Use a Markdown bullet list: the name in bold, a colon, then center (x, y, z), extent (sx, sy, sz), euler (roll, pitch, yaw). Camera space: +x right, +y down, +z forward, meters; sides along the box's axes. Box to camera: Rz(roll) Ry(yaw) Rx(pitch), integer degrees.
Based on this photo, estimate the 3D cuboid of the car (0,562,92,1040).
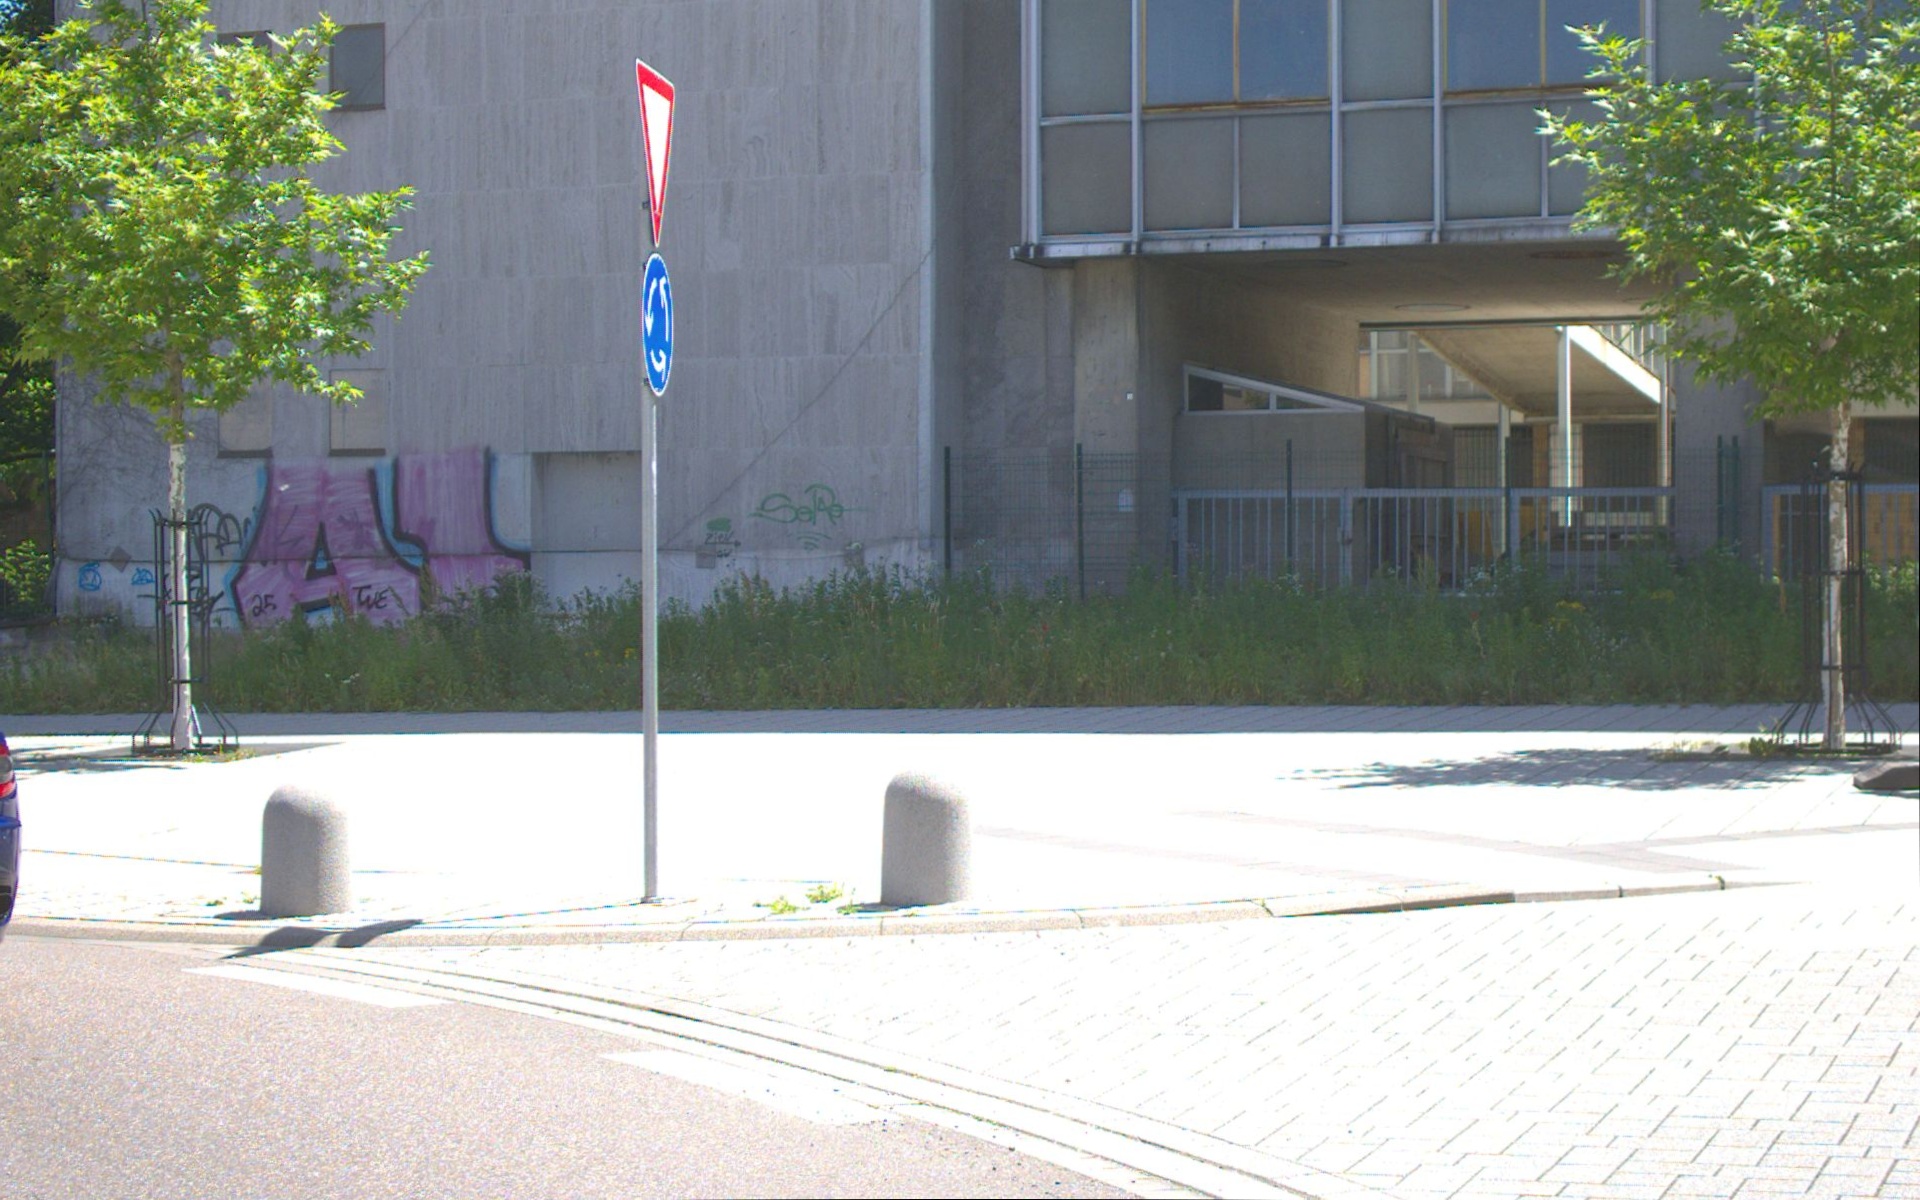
- **car**: center (-5.084, 0.693, 12.170), extent (1.872, 1.525, 4.503), euler (0, -1, -44)
